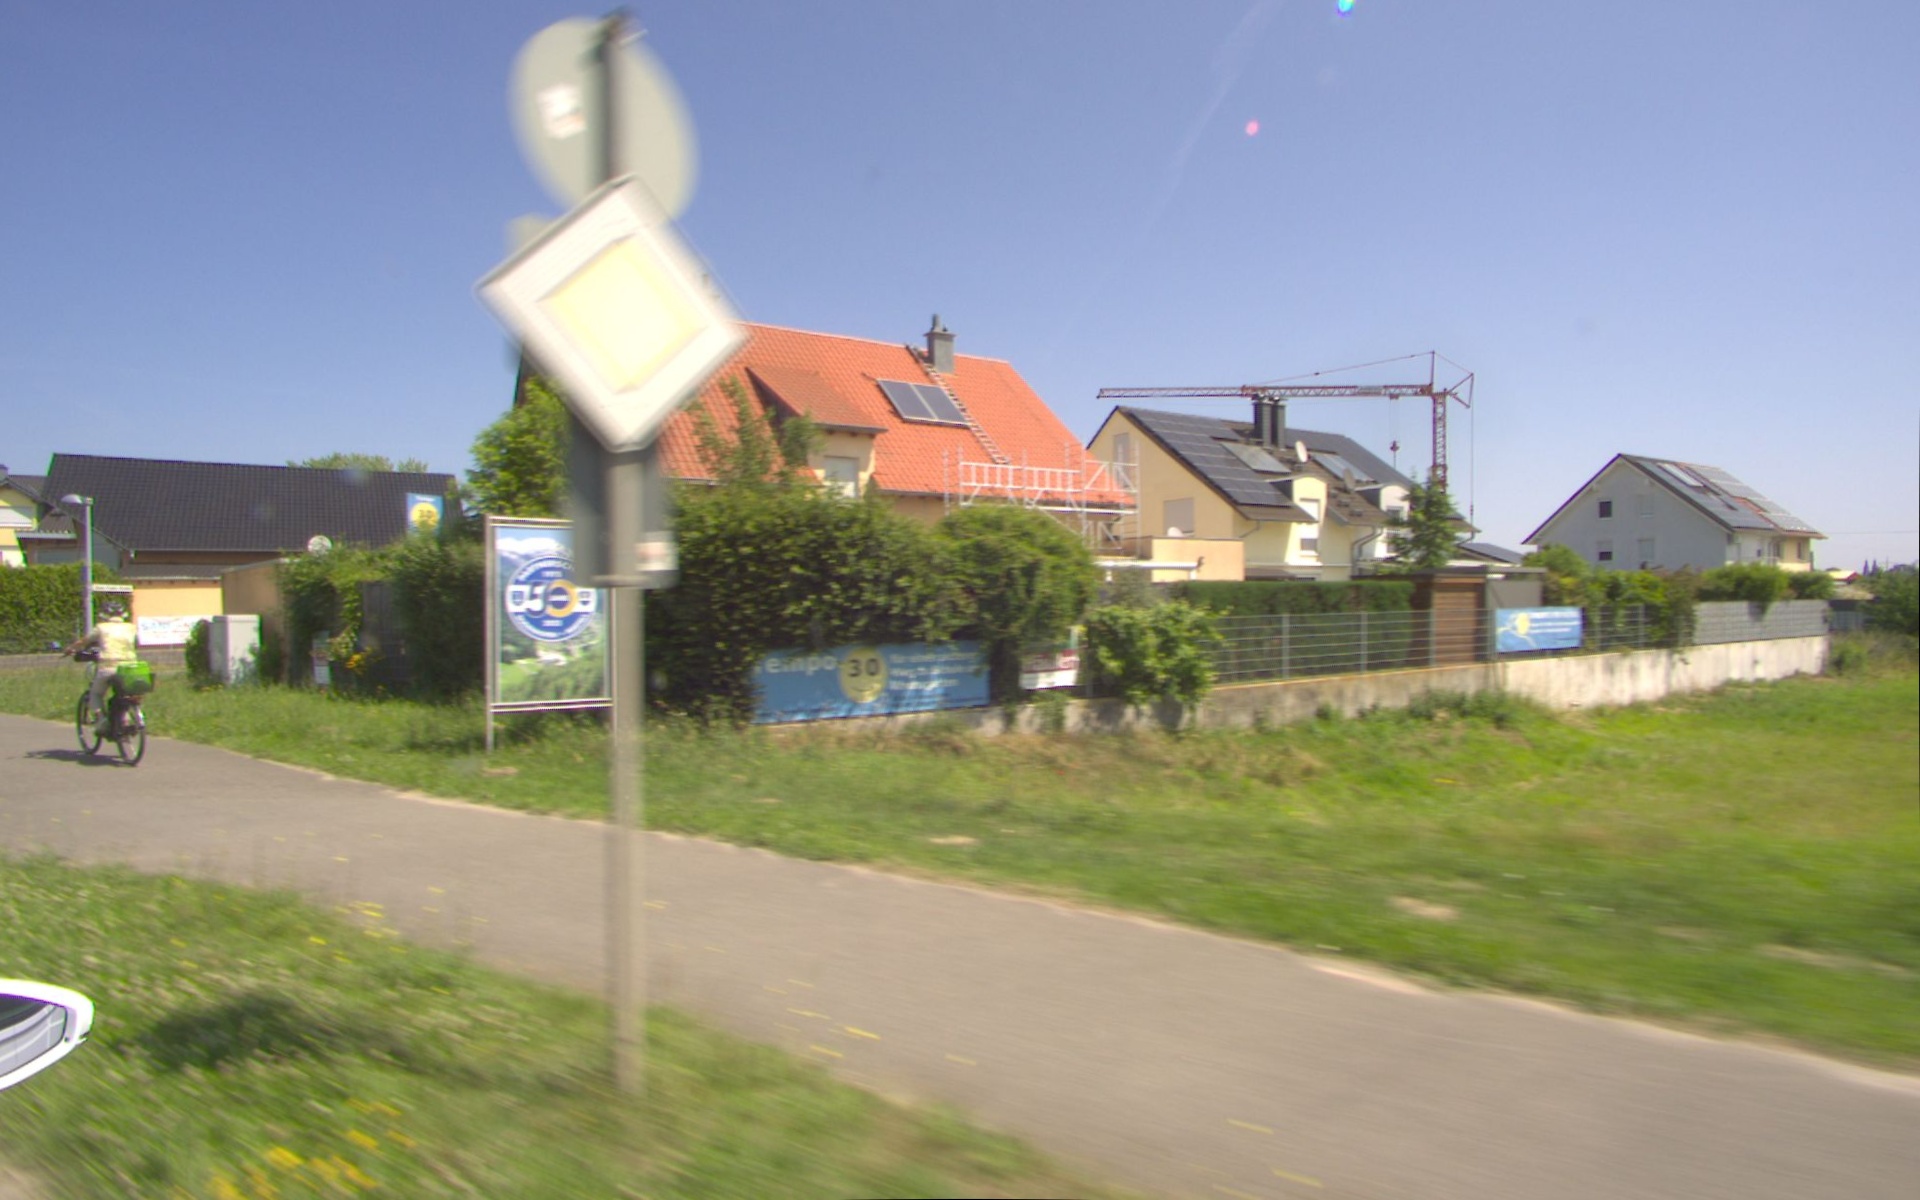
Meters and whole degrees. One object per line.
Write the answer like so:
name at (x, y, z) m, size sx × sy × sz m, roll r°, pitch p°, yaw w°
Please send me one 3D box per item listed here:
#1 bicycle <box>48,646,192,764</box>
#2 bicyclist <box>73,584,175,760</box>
bicycle at (-9.672, 1.158, 11.504) m, size 2.241 × 1.174 × 0.609 m, roll 0°, pitch -1°, yaw 33°
bicyclist at (-9.519, 0.792, 11.405) m, size 0.848 × 1.914 × 0.644 m, roll 1°, pitch 0°, yaw 32°
